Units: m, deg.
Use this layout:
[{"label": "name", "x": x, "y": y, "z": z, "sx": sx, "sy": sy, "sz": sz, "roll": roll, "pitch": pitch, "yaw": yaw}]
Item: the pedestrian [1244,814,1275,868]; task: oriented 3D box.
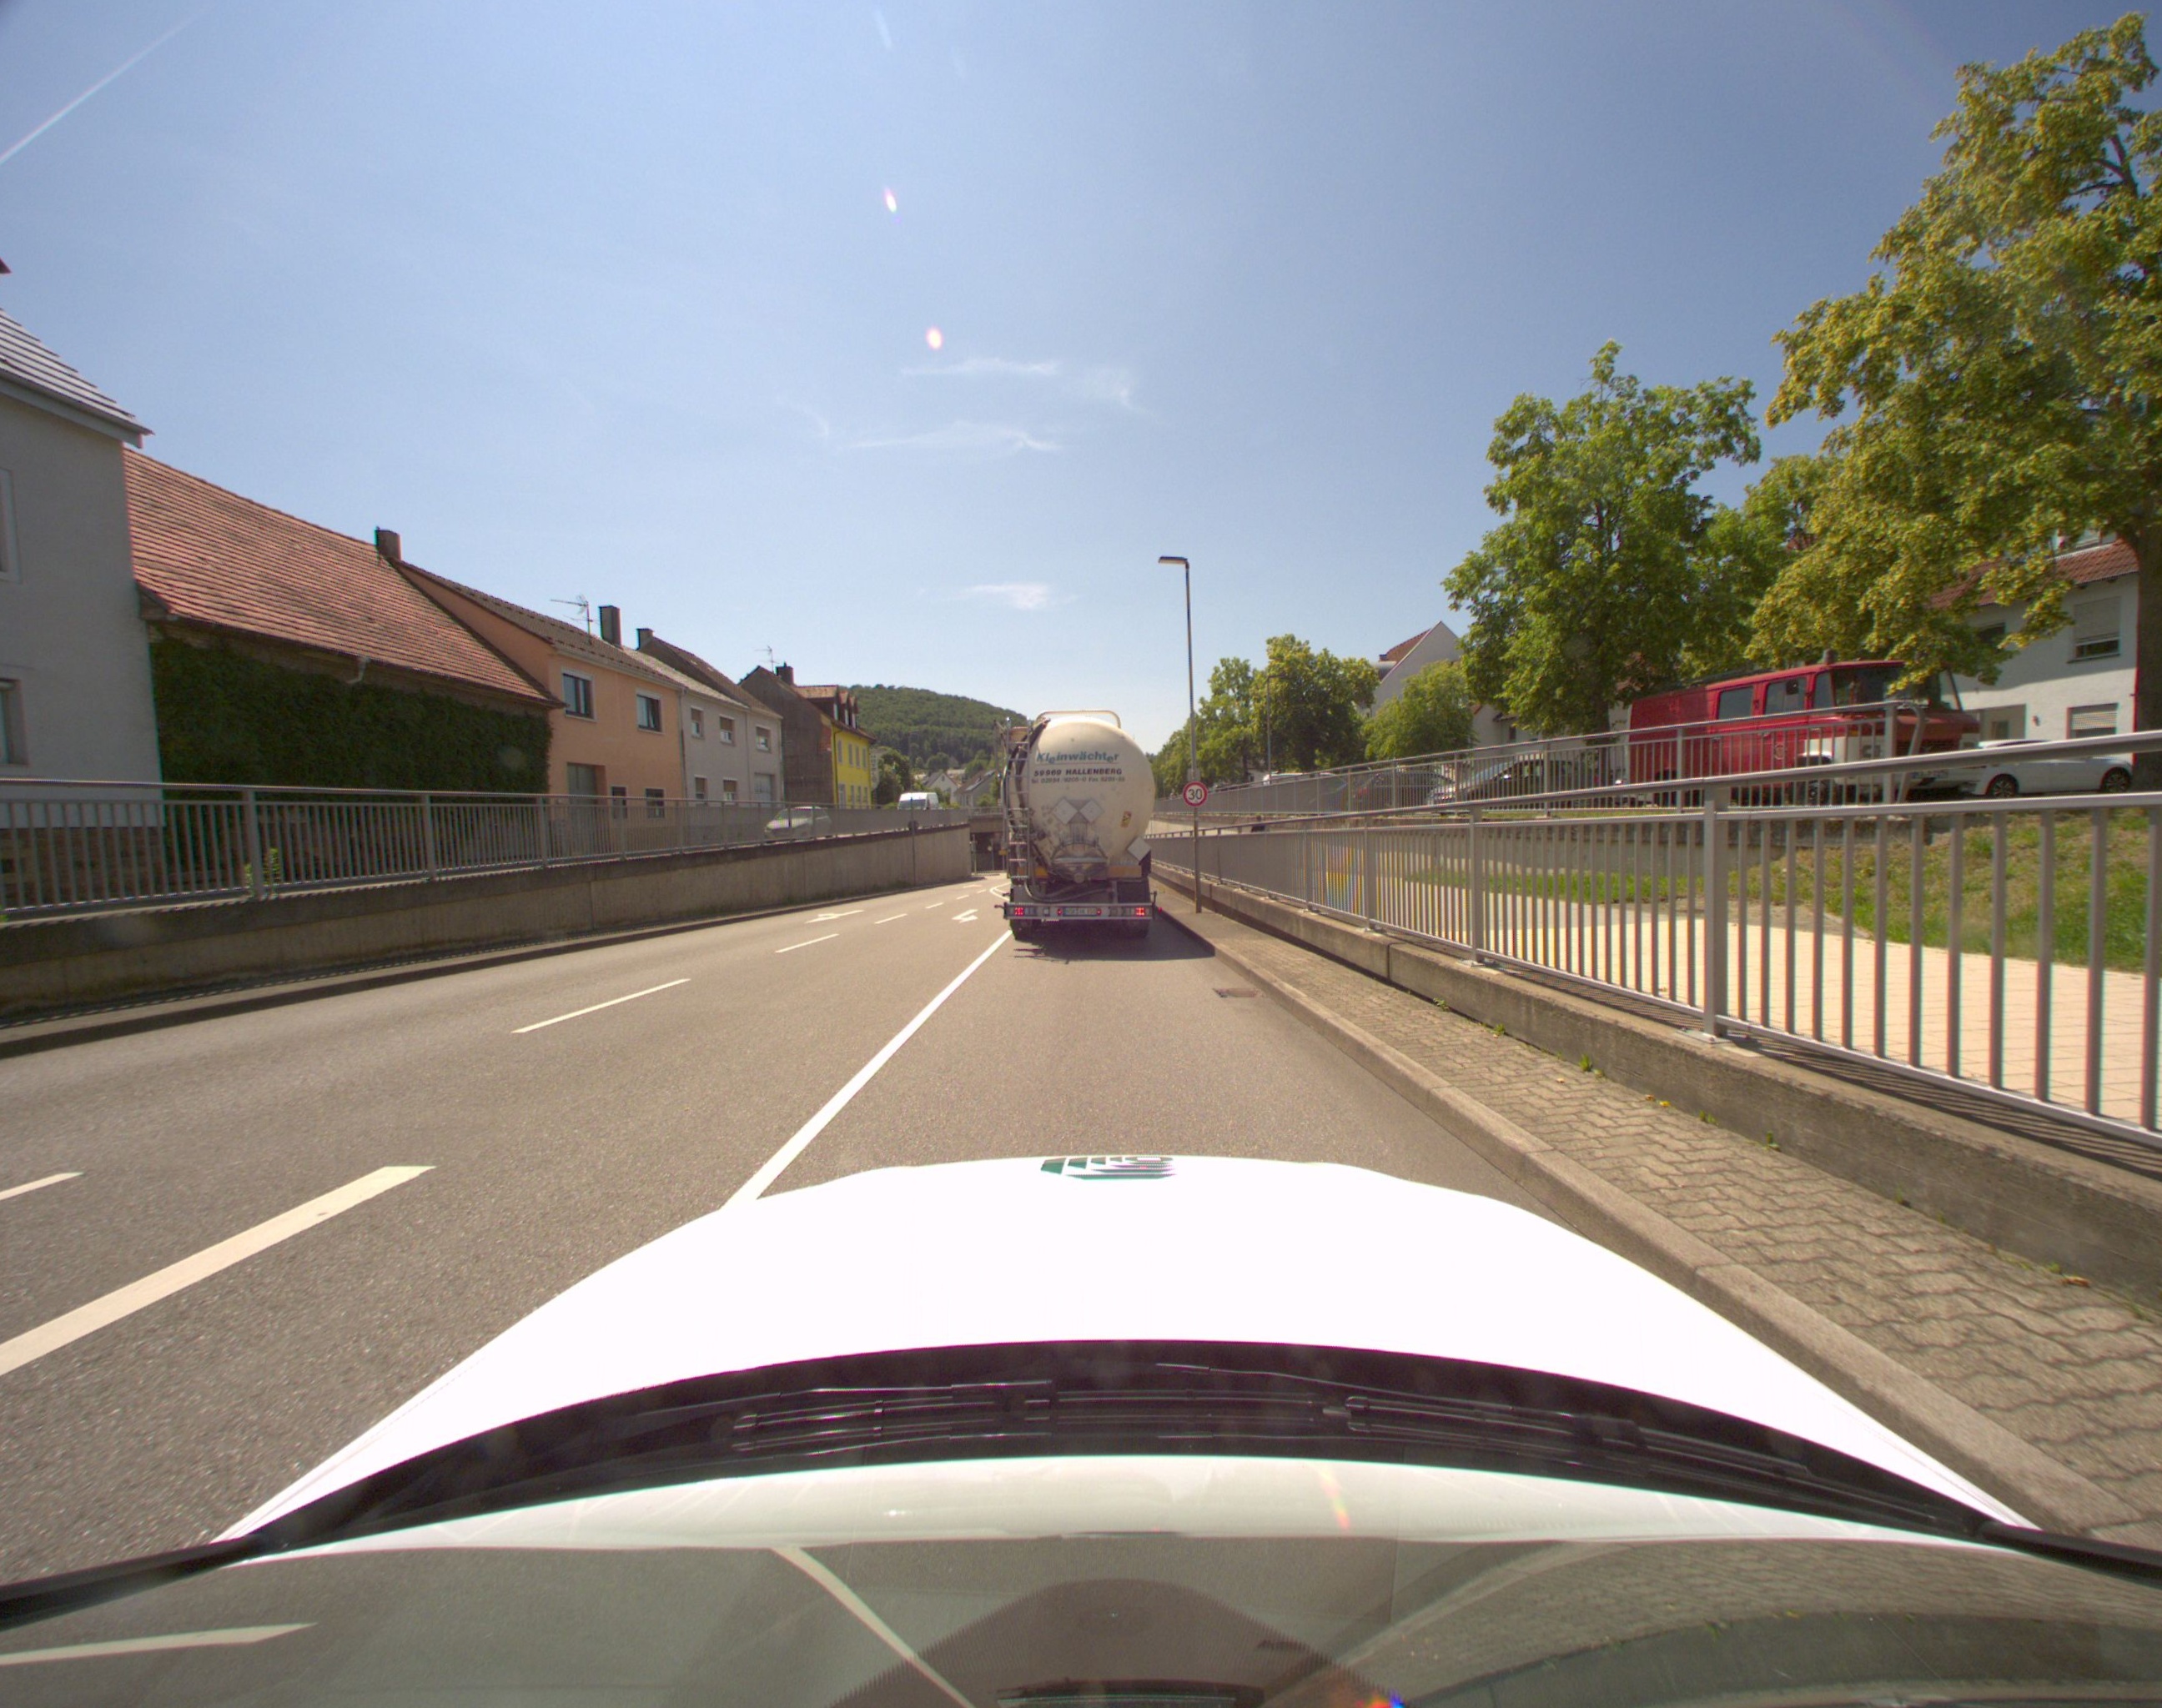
[{"label": "pedestrian", "x": 6.092, "y": -0.443, "z": 27.848, "sx": 0.833, "sy": 1.782, "sz": 0.788, "roll": -2, "pitch": 0, "yaw": 0}]

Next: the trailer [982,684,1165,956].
[{"label": "trailer", "x": 0.025, "y": -0.507, "z": 18.797, "sx": 2.725, "sy": 4.064, "sz": 13.315, "roll": 0, "pitch": 0, "yaw": 1}]

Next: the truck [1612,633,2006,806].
[{"label": "truck", "x": 11.998, "y": -2.050, "z": 14.136, "sx": 2.125, "sy": 2.334, "sz": 5.260, "roll": -2, "pitch": 3, "yaw": 0}]

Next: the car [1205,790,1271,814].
[{"label": "car", "x": 10.014, "y": -3.308, "z": 52.010, "sx": 3.892, "sy": 1.367, "sz": 1.687, "roll": -2, "pitch": 3, "yaw": 1}]

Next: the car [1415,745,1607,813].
[{"label": "car", "x": 10.869, "y": -1.872, "z": 20.787, "sx": 3.973, "sy": 1.498, "sz": 1.749, "roll": -2, "pitch": 3, "yaw": 1}]

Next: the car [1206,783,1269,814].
[{"label": "car", "x": 10.467, "y": -3.712, "z": 54.602, "sx": 3.892, "sy": 1.884, "sz": 1.687, "roll": -2, "pitch": 3, "yaw": 1}]

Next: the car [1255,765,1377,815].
[{"label": "car", "x": 10.806, "y": -2.939, "z": 37.682, "sx": 5.094, "sy": 2.063, "sz": 1.990, "roll": -2, "pitch": 3, "yaw": 1}]

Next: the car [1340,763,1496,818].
[{"label": "car", "x": 10.475, "y": -1.961, "z": 25.524, "sx": 4.189, "sy": 1.498, "sz": 1.687, "roll": -2, "pitch": 3, "yaw": 1}]

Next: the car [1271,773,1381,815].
[{"label": "car", "x": 10.459, "y": -2.537, "z": 34.910, "sx": 4.189, "sy": 1.595, "sz": 1.687, "roll": -2, "pitch": 3, "yaw": 1}]

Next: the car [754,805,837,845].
[{"label": "car", "x": -11.297, "y": -1.194, "z": 32.558, "sx": 1.807, "sy": 1.462, "sz": 4.310, "roll": -1, "pitch": 3, "yaw": 0}]

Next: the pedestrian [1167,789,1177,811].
[{"label": "pedestrian", "x": 7.478, "y": -4.404, "z": 66.959, "sx": 0.670, "sy": 1.779, "sz": 0.594, "roll": -2, "pitch": 2, "yaw": 2}]

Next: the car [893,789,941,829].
[{"label": "car", "x": -11.047, "y": -3.028, "z": 55.291, "sx": 2.059, "sy": 2.536, "sz": 5.661, "roll": -1, "pitch": 3, "yaw": 0}]

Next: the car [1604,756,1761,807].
[{"label": "car", "x": 21.714, "y": -2.605, "z": 29.511, "sx": 4.391, "sy": 1.489, "sz": 1.758, "roll": -4, "pitch": 3, "yaw": 0}]

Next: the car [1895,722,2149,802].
[{"label": "car", "x": 21.888, "y": -2.105, "z": 19.050, "sx": 3.924, "sy": 1.477, "sz": 1.758, "roll": -4, "pitch": 3, "yaw": 0}]
